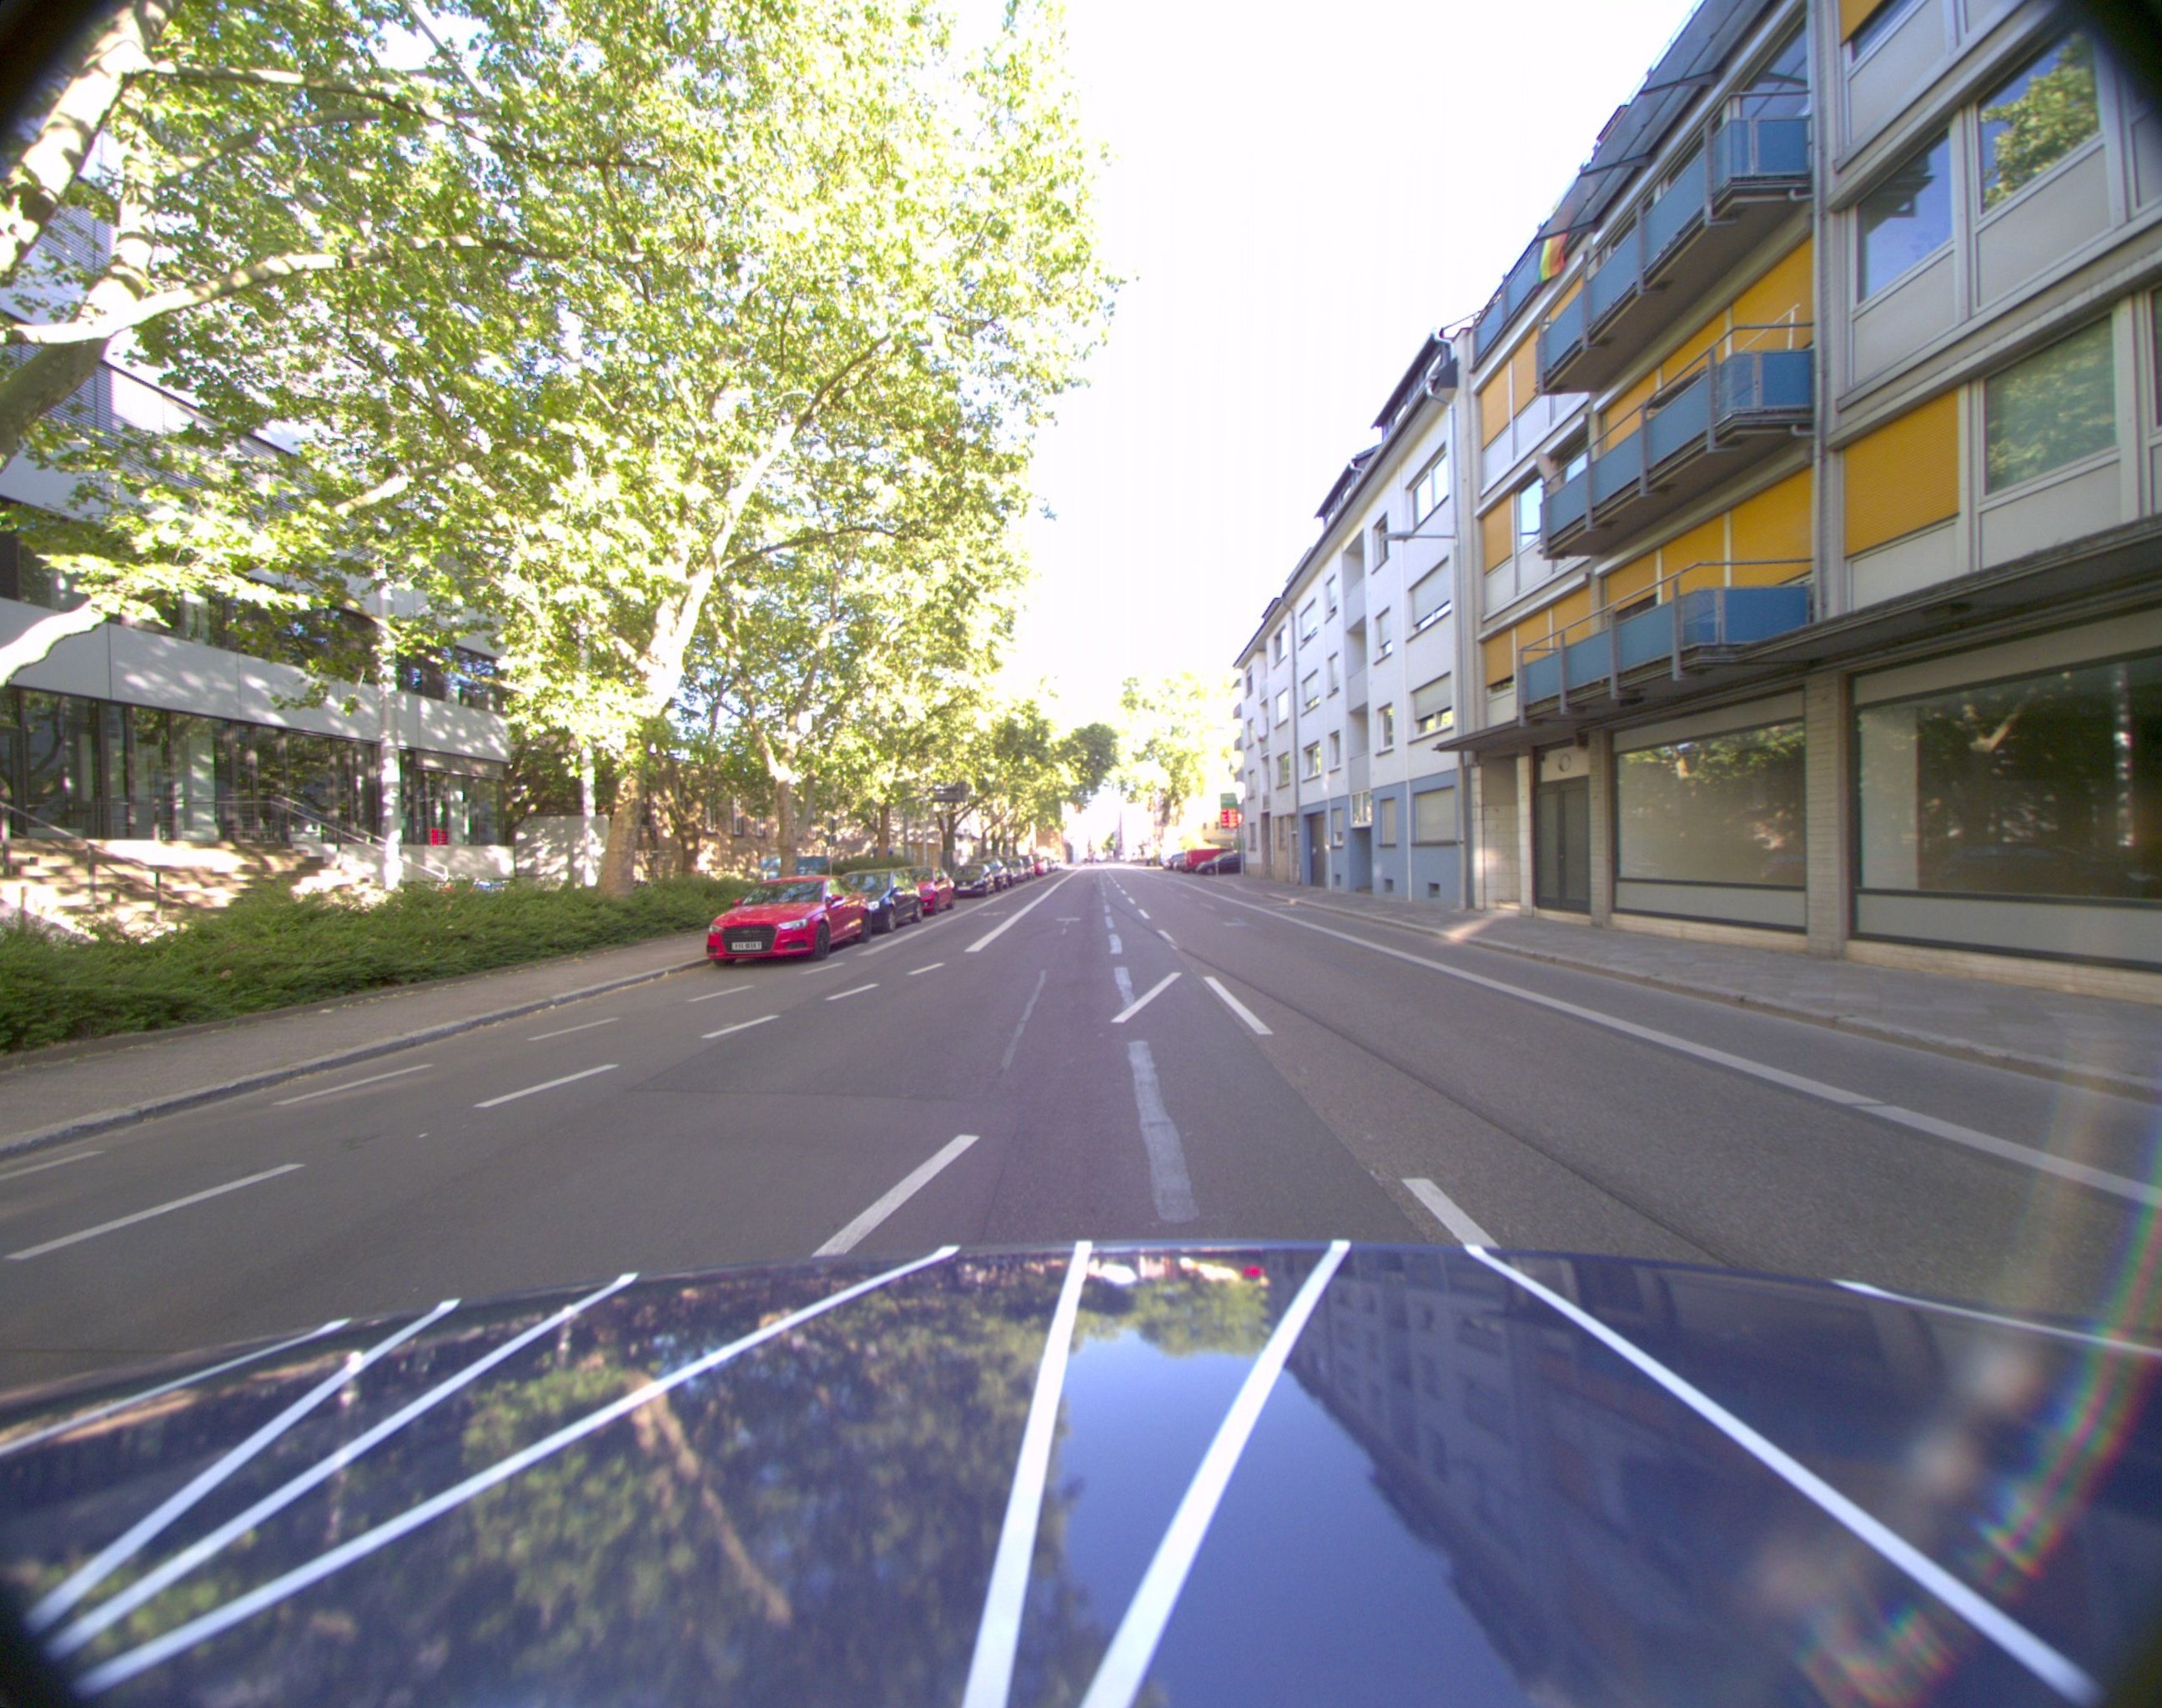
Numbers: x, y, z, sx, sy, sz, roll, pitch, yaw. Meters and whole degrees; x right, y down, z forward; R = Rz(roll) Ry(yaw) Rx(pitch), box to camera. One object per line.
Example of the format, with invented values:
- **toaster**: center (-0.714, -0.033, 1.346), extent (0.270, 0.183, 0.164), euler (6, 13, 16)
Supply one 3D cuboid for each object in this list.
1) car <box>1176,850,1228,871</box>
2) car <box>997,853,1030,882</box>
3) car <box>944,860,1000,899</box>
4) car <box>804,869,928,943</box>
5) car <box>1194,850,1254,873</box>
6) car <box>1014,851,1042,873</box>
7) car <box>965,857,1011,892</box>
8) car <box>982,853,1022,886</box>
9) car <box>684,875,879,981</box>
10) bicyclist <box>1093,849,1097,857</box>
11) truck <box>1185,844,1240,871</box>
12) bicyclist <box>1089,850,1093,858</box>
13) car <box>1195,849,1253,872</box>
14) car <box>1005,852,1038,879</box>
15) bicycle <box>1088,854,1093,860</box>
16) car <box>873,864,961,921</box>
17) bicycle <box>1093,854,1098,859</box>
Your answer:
- **car**: center (9.973, 0.522, 62.844), extent (3.996, 1.494, 1.761), euler (-2, 1, 2)
- **car**: center (-4.451, 0.851, 50.703), extent (1.790, 1.745, 4.552), euler (-3, 0, 0)
- **car**: center (-4.707, 1.077, 33.385), extent (1.790, 1.451, 4.163), euler (-3, 0, 0)
- **car**: center (-5.088, 1.169, 18.575), extent (1.818, 1.405, 4.163), euler (-3, 0, 0)
- **car**: center (10.249, 0.542, 54.794), extent (3.996, 1.449, 1.761), euler (-2, 1, 2)
- **car**: center (-4.596, 0.699, 66.092), extent (2.042, 1.745, 4.552), euler (-3, 0, 0)
- **car**: center (-4.606, 0.977, 38.131), extent (1.790, 1.544, 4.163), euler (-3, 0, 0)
- **car**: center (-4.529, 0.868, 44.148), extent (1.790, 1.745, 4.345), euler (-3, 0, 0)
- **car**: center (-5.143, 1.192, 13.719), extent (1.818, 1.405, 4.163), euler (-3, 0, 0)
- **bicyclist**: center (2.907, -0.142, 155.643), extent (0.717, 1.573, 0.936), euler (-2, 1, 8)
- **truck**: center (10.362, 0.241, 59.991), extent (3.996, 1.925, 1.761), euler (-2, 1, 2)
- **bicyclist**: center (1.957, 0.060, 154.695), extent (0.718, 1.573, 0.936), euler (-2, 1, 5)
- **car**: center (10.723, 0.475, 57.141), extent (3.996, 1.494, 1.761), euler (-2, 1, 2)
- **car**: center (-4.322, 0.796, 55.662), extent (2.042, 1.745, 4.552), euler (-3, 0, 0)
- **bicycle**: center (1.980, 0.584, 154.783), extent (0.717, 1.052, 2.485), euler (-2, 1, 5)
- **car**: center (-5.035, 1.123, 23.858), extent (1.818, 1.475, 4.163), euler (-3, 0, 0)
- **bicycle**: center (2.950, 0.539, 155.776), extent (0.717, 1.052, 2.486), euler (-2, 1, 7)
